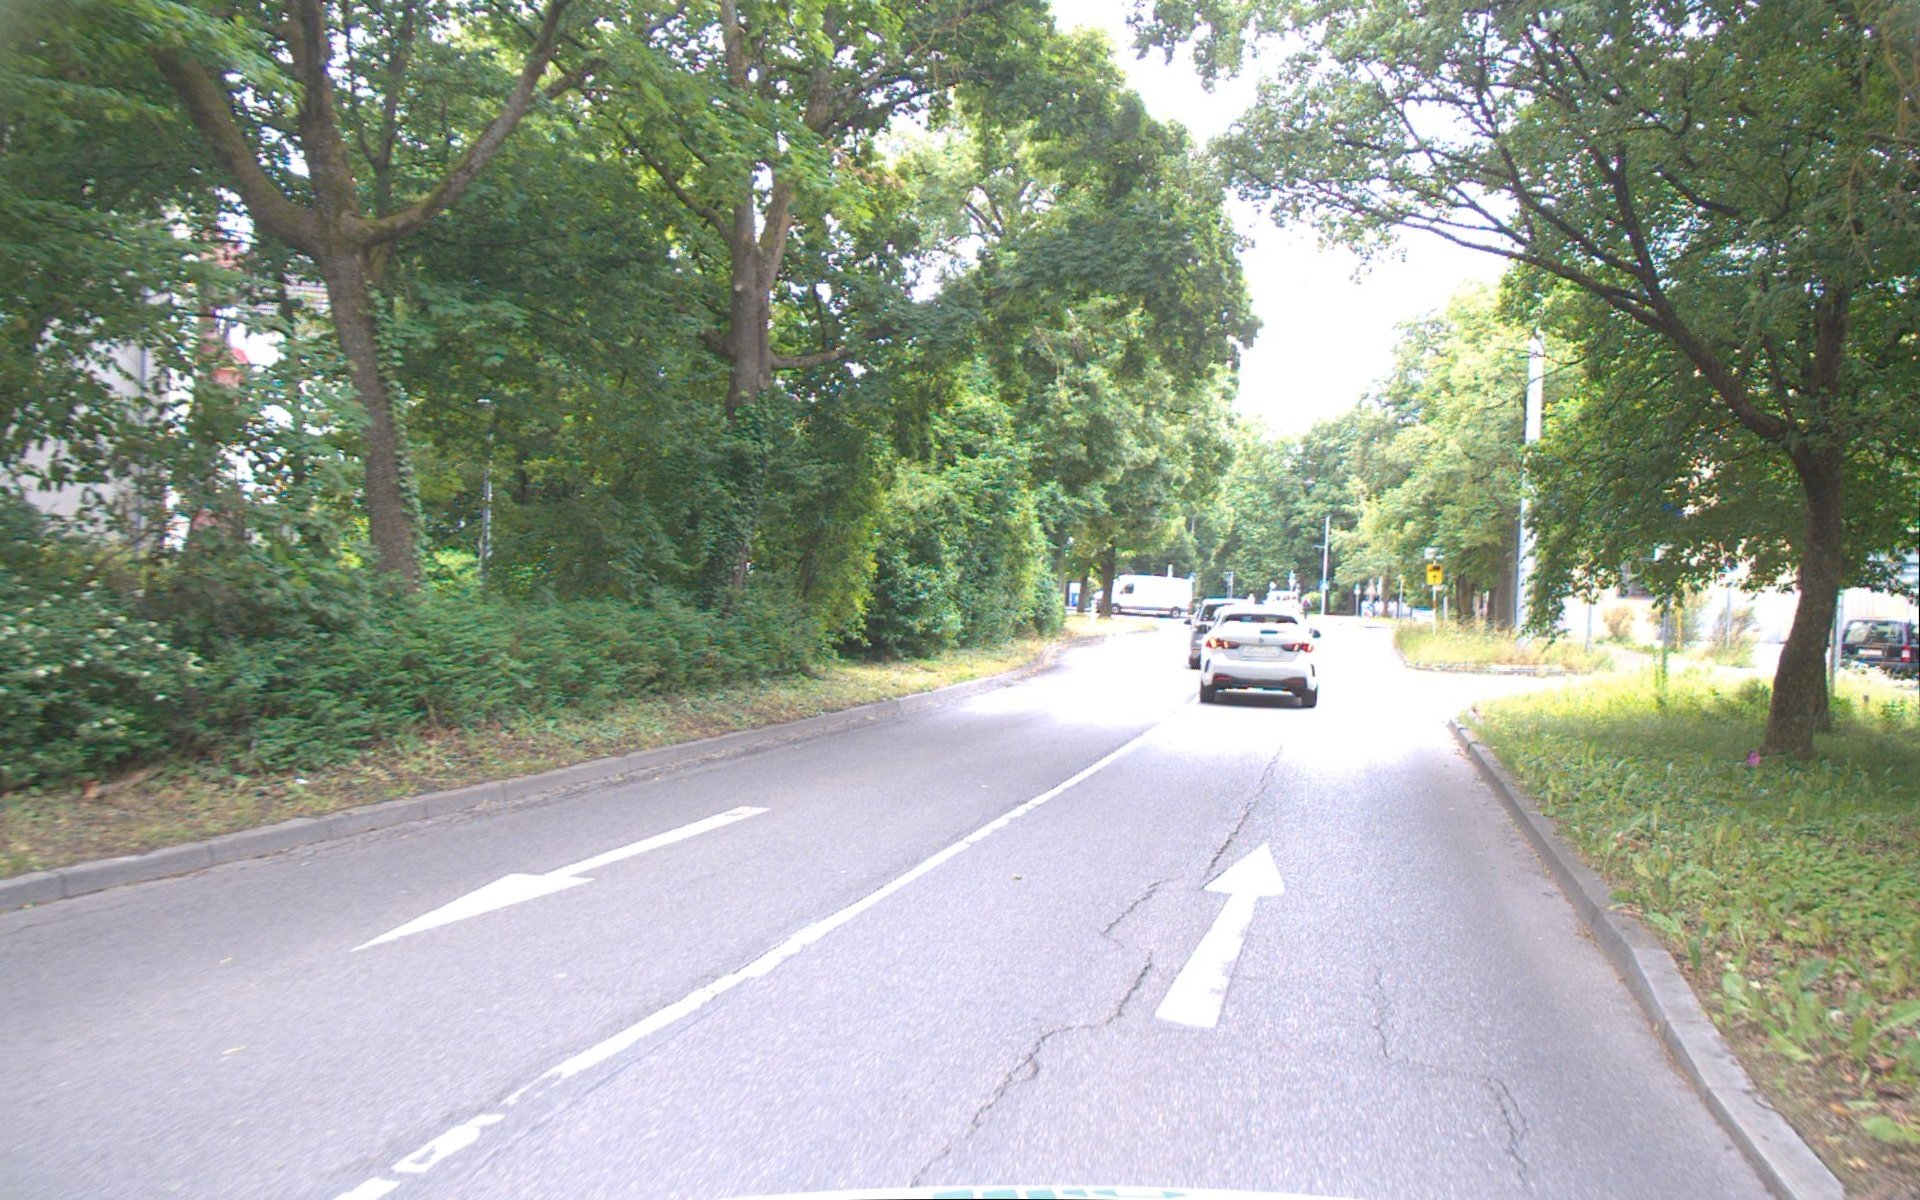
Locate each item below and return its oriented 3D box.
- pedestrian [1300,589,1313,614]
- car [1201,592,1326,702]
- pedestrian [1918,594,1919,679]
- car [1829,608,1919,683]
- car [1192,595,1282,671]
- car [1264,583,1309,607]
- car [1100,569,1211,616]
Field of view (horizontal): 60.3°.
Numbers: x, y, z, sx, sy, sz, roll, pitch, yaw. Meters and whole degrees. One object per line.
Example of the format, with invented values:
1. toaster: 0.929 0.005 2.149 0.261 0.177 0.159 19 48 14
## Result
1. pedestrian: 27.597 0.146 131.783 0.904 1.904 1.020 -1 2 11
2. car: 4.847 0.695 26.226 1.757 1.544 4.210 2 0 12
3. pedestrian: 20.450 0.774 34.546 0.465 1.784 0.582 -1 3 -15
4. car: 21.355 0.980 36.302 4.677 1.543 1.852 1 0 -30
5. car: 6.558 0.720 38.863 1.882 1.601 4.004 3 1 12
6. car: 38.549 -0.606 195.266 5.328 2.336 2.111 4 2 -37
7. car: 12.596 -0.460 106.548 6.863 2.565 2.071 3 2 -23
